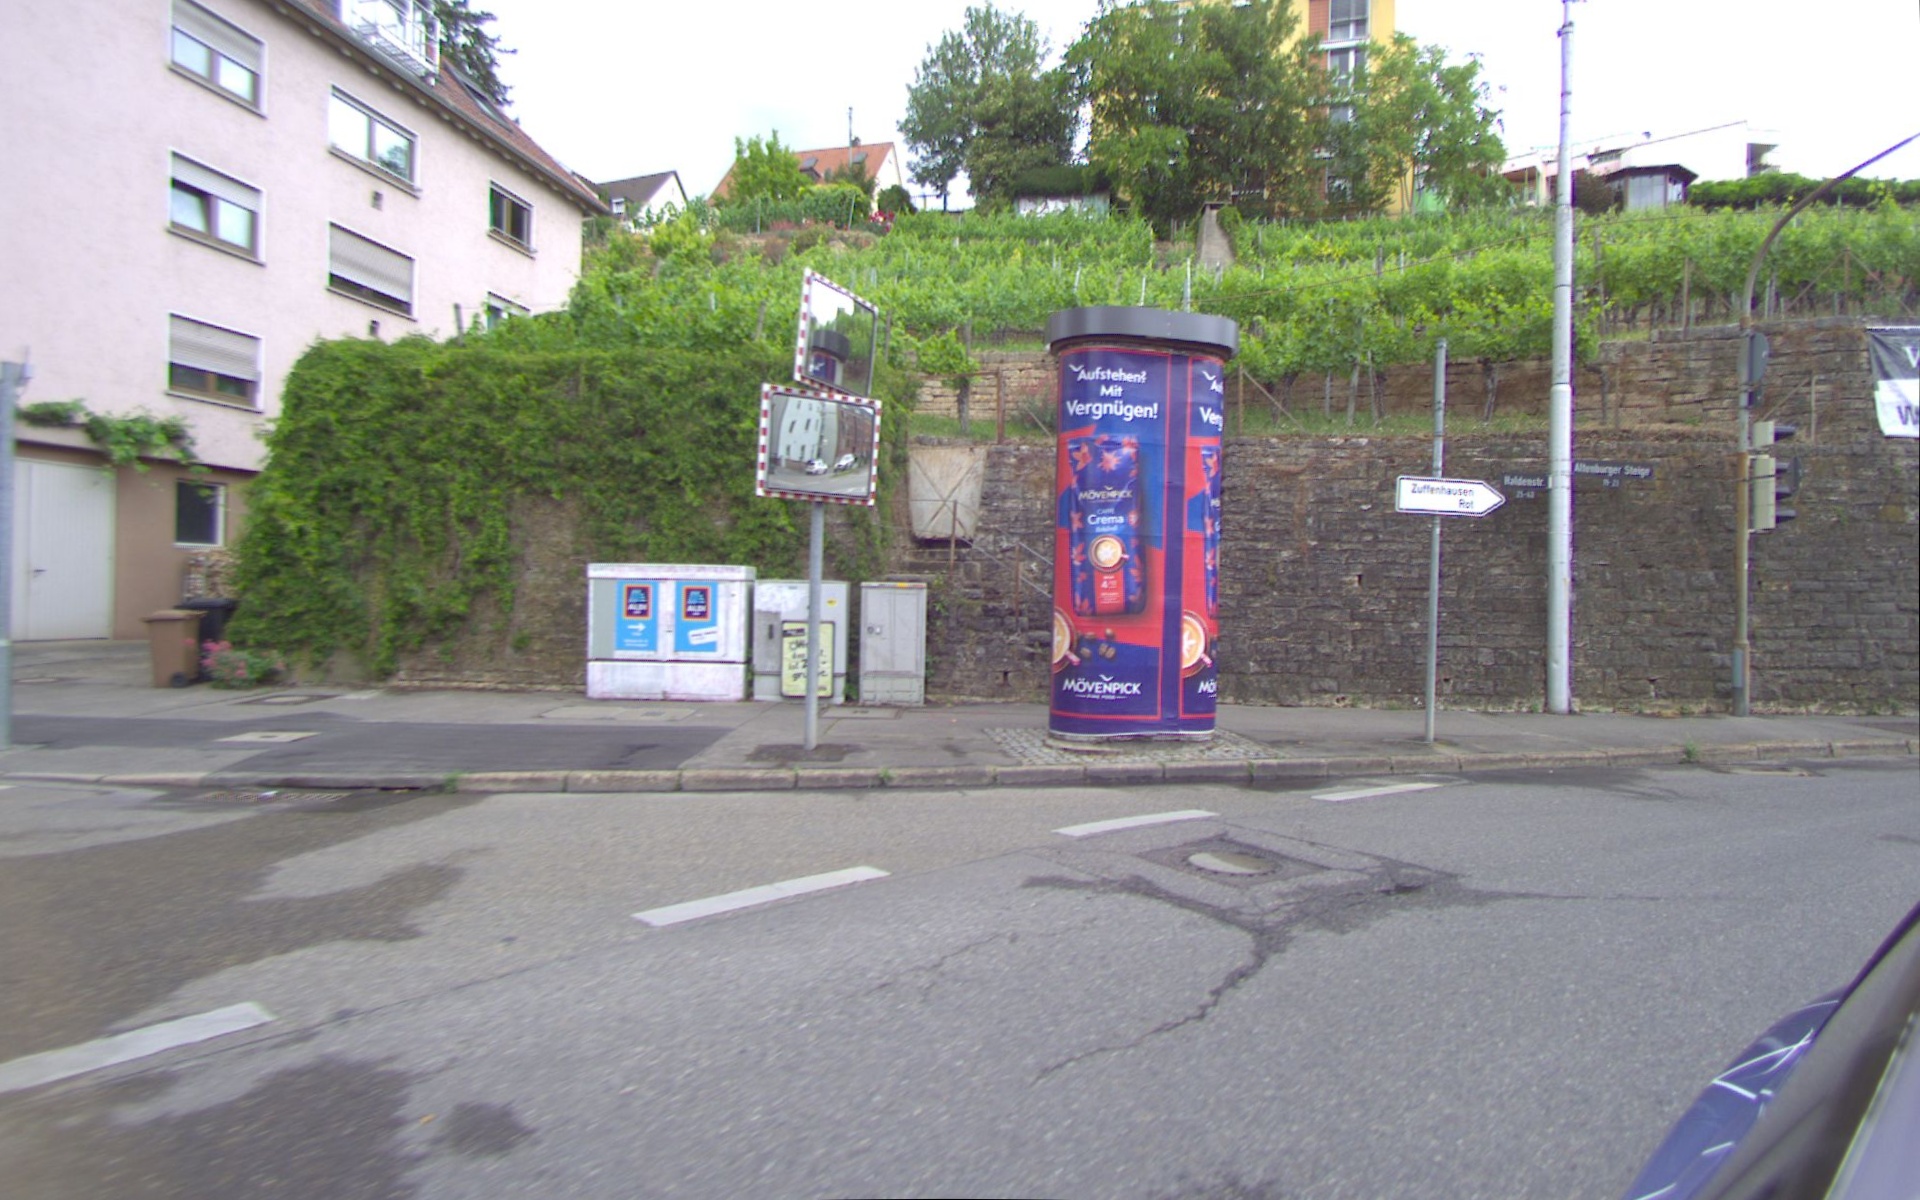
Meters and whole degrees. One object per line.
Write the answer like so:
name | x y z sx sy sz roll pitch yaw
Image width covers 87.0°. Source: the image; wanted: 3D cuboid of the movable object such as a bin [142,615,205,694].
movable object such as a bin | -9.594 0.657 12.349 0.485 0.923 0.345 -2 0 -2

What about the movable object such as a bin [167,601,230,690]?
movable object such as a bin | -9.608 0.564 12.777 0.463 1.096 0.408 -1 0 -3
